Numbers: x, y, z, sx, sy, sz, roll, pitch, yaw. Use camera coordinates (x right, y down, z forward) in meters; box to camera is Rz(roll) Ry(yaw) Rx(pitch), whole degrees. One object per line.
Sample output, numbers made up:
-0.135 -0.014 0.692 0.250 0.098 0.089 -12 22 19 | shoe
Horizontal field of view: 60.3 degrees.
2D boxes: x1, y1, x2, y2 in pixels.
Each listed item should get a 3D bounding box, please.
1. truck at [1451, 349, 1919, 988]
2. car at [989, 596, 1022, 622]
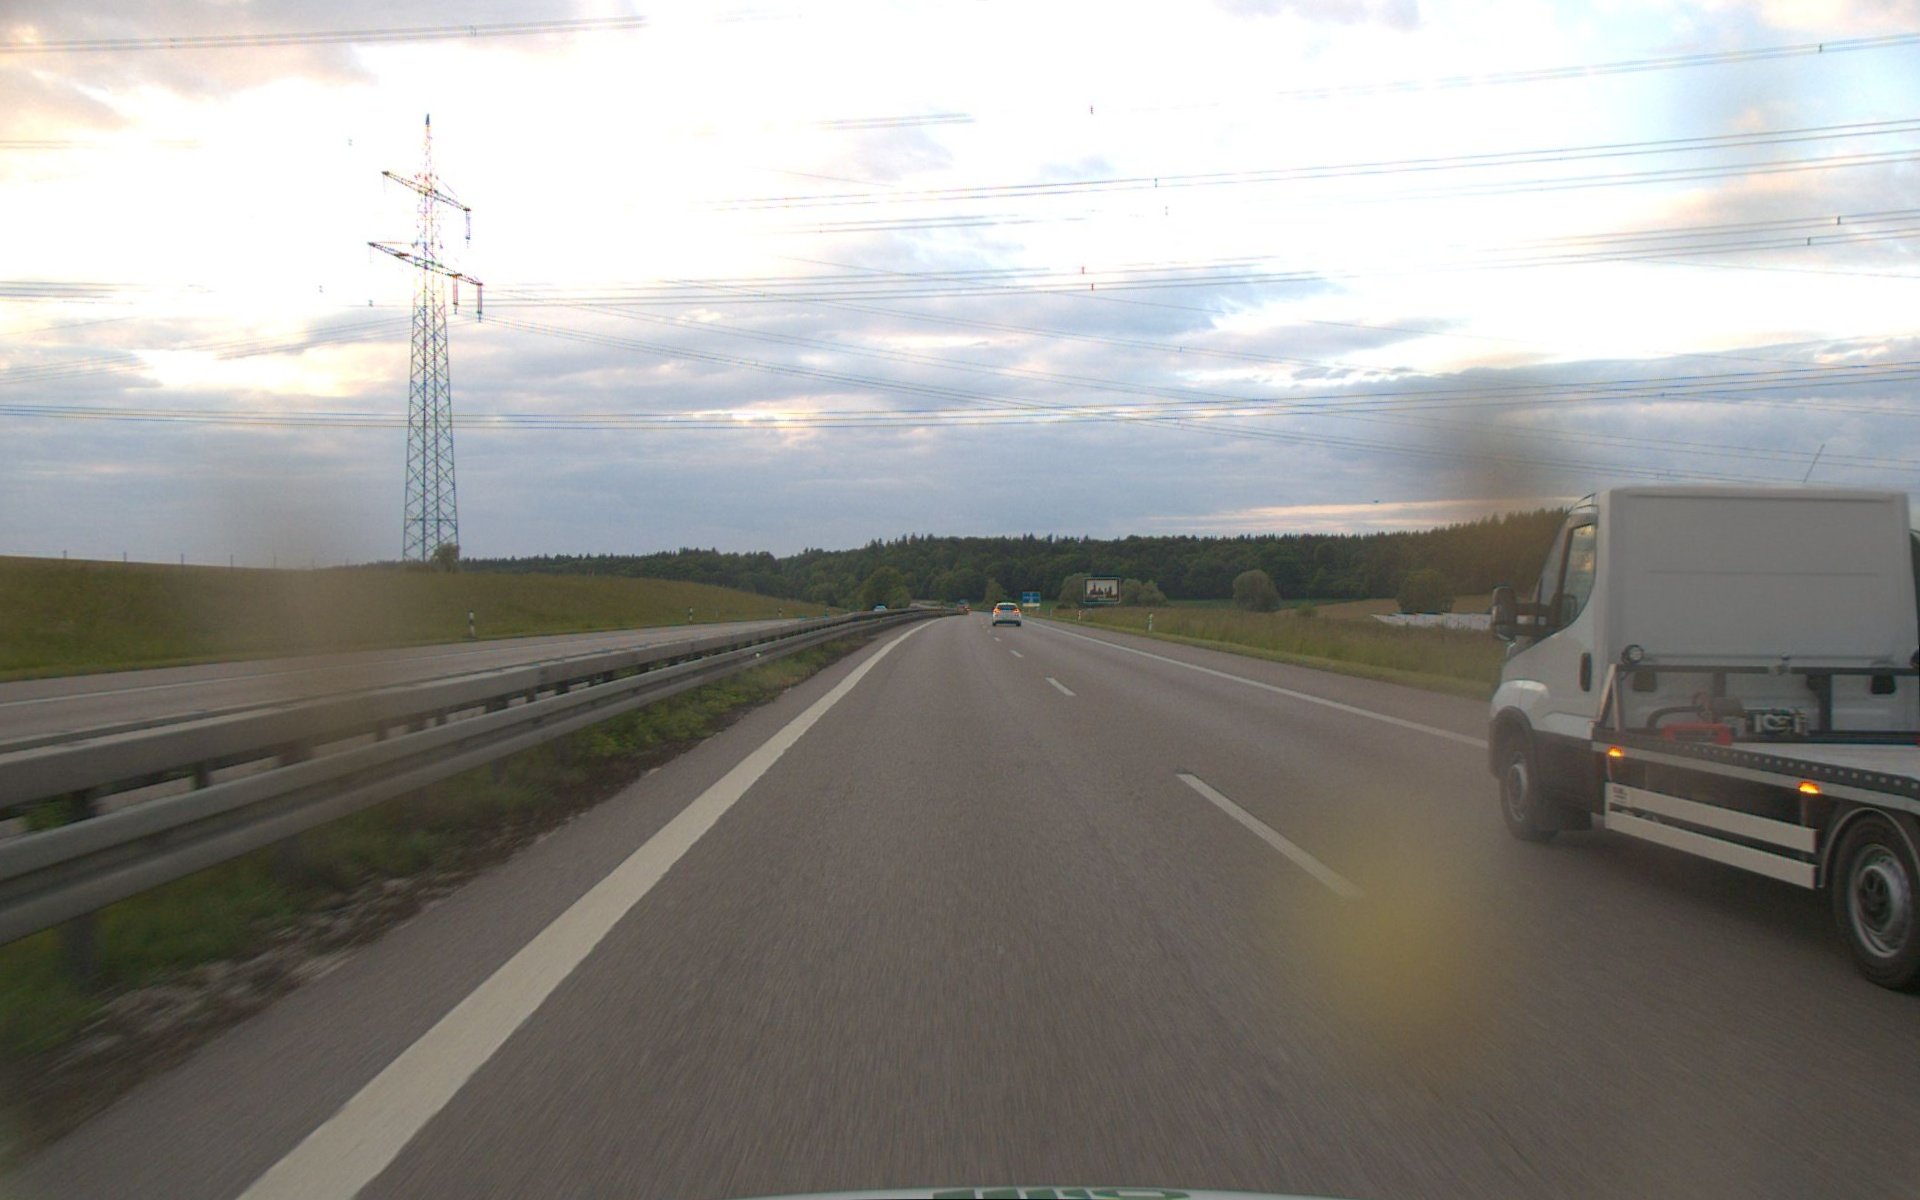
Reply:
4.660 0.271 8.074 2.127 2.401 7.695 1 0 -1 | truck
2.872 0.561 104.748 1.912 1.558 4.079 1 0 -1 | car
